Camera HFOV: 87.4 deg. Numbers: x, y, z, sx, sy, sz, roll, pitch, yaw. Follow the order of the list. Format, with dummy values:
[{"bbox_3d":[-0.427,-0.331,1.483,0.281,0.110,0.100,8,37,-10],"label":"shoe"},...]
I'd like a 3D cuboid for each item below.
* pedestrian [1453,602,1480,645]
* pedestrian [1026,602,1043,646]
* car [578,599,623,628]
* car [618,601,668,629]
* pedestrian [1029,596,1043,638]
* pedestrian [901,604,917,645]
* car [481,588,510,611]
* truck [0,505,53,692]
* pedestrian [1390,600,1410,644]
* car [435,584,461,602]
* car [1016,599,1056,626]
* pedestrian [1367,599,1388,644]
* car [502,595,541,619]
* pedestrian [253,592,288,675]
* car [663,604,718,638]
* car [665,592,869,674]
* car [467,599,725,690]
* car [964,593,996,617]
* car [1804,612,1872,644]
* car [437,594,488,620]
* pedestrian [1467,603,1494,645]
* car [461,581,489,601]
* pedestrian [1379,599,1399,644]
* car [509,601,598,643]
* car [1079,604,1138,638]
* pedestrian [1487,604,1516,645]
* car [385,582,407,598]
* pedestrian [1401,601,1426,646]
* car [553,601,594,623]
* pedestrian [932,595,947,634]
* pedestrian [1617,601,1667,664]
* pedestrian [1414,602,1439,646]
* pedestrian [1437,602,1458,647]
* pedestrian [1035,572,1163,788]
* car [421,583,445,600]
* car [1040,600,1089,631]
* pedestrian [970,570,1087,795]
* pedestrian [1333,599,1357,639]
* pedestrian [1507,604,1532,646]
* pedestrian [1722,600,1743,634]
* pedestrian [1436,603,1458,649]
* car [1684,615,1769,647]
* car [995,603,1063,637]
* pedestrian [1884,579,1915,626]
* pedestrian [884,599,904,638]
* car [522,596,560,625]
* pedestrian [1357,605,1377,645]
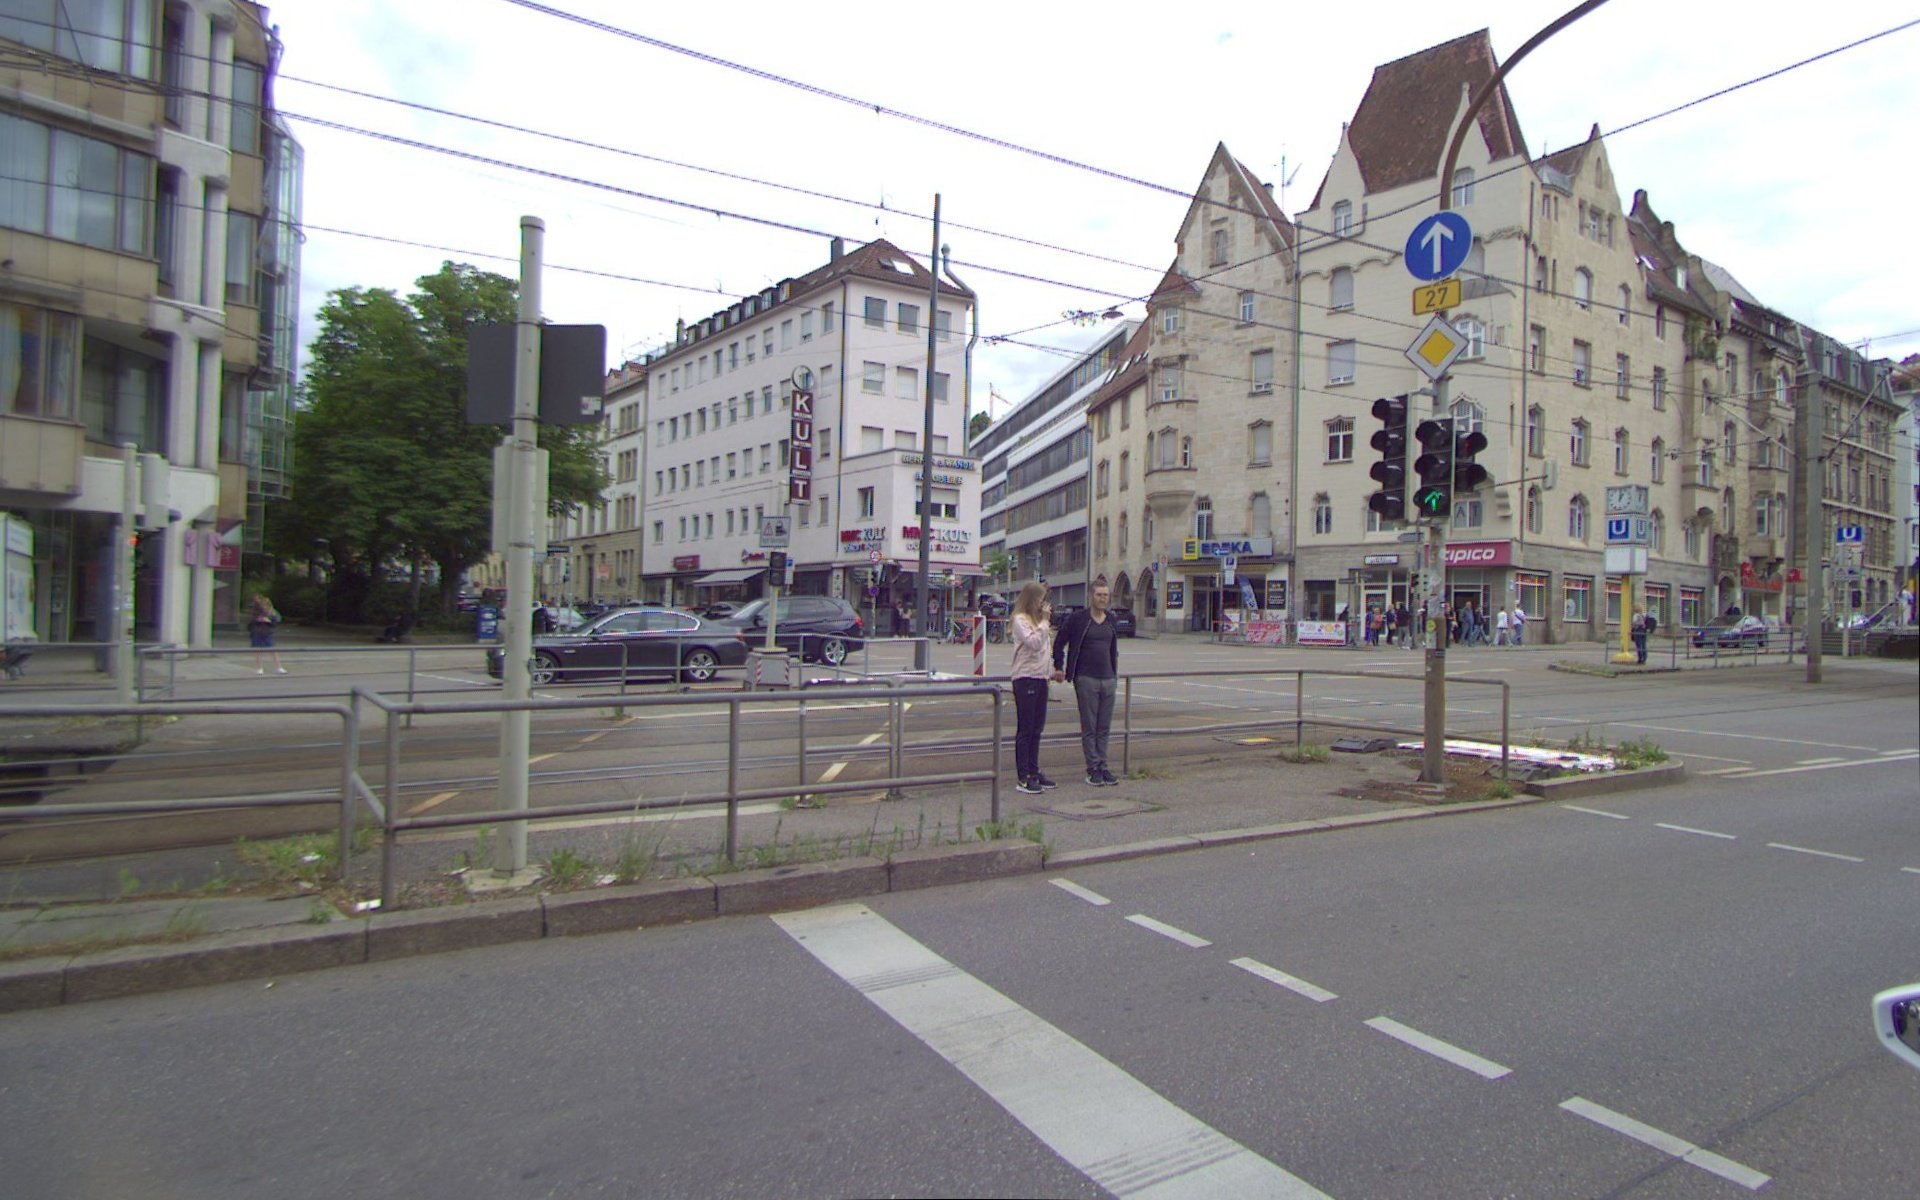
[{"bbox_3d":[20.524,0.955,40.717,0.679,1.699,0.674,1,0,-13],"label":"pedestrian"},{"bbox_3d":[3.091,0.996,41.671,0.568,1.803,0.509,1,0,-19],"label":"pedestrian"},{"bbox_3d":[-22.079,0.820,61.597,1.634,1.734,3.613,1,0,-36],"label":"car"},{"bbox_3d":[-18.118,0.854,57.333,1.634,1.553,3.613,1,0,-36],"label":"car"},{"bbox_3d":[3.279,0.719,43.165,0.502,1.803,0.576,1,0,-5],"label":"pedestrian"},{"bbox_3d":[-2.272,1.106,44.727,0.568,1.803,0.509,1,0,-19],"label":"pedestrian"},{"bbox_3d":[-36.394,-0.030,78.637,1.376,1.763,3.613,1,0,-36],"label":"car"},{"bbox_3d":[-19.328,-0.055,15.712,7.298,3.116,2.253,1,-3,-34],"label":"truck"},{"bbox_3d":[18.267,0.919,41.664,0.570,1.803,0.507,1,0,-29],"label":"pedestrian"},{"bbox_3d":[-49.318,-0.672,96.699,1.634,1.734,3.613,1,0,-36],"label":"car"},{"bbox_3d":[5.296,0.902,70.619,1.610,1.768,3.771,0,-2,-16],"label":"car"},{"bbox_3d":[17.065,0.875,41.076,0.505,1.803,0.573,1,0,-26],"label":"pedestrian"},{"bbox_3d":[-32.606,0.497,74.620,1.637,1.734,3.606,1,0,-41],"label":"car"},{"bbox_3d":[-15.289,0.730,22.278,0.570,1.803,0.507,1,0,-29],"label":"pedestrian"},{"bbox_3d":[-14.408,1.075,53.643,1.634,1.734,3.613,1,0,-36],"label":"car"},{"bbox_3d":[-4.780,0.758,25.170,4.727,1.783,1.665,-2,2,-31],"label":"car"},{"bbox_3d":[-6.955,0.807,19.316,4.480,1.573,1.649,1,0,-29],"label":"car"},{"bbox_3d":[1.557,0.402,80.577,1.609,1.768,3.772,0,-2,-15],"label":"car"},{"bbox_3d":[45.510,1.447,52.055,3.557,1.544,1.552,1,0,-30],"label":"car"},{"bbox_3d":[-35.455,0.483,71.521,1.913,1.734,4.433,1,0,-45],"label":"car"},{"bbox_3d":[21.777,0.998,42.033,0.644,1.728,0.780,1,0,-25],"label":"pedestrian"},{"bbox_3d":[-43.240,-0.774,89.541,1.634,1.734,3.613,1,0,-36],"label":"car"},{"bbox_3d":[17.680,0.882,41.402,0.569,1.803,0.508,1,0,-24],"label":"pedestrian"},{"bbox_3d":[-16.577,0.855,40.923,3.945,1.550,1.939,2,1,44],"label":"car"},{"bbox_3d":[7.697,1.125,52.332,1.610,1.706,3.771,0,-2,-16],"label":"car"},{"bbox_3d":[22.897,1.020,42.473,0.713,1.728,0.780,1,0,-25],"label":"pedestrian"},{"bbox_3d":[-60.690,-1.050,108.089,1.634,1.734,3.613,1,0,-36],"label":"car"},{"bbox_3d":[18.068,0.927,40.022,0.586,1.803,0.709,1,0,-15],"label":"pedestrian"},{"bbox_3d":[-25.688,0.788,66.675,1.634,1.463,3.613,1,0,-36],"label":"car"},{"bbox_3d":[-0.961,0.685,46.999,0.589,1.803,0.509,1,0,-19],"label":"pedestrian"},{"bbox_3d":[19.358,0.911,28.527,0.796,1.728,0.877,1,0,-2],"label":"pedestrian"},{"bbox_3d":[19.356,0.983,41.708,0.654,1.803,0.790,1,0,0],"label":"pedestrian"},{"bbox_3d":[19.962,0.998,41.145,0.565,1.803,0.511,1,0,0],"label":"pedestrian"},{"bbox_3d":[1.192,0.653,8.674,0.764,1.744,0.787,1,0,-31],"label":"pedestrian"},{"bbox_3d":[-54.881,-0.858,104.560,1.634,1.734,3.613,1,0,-36],"label":"car"},{"bbox_3d":[6.153,0.960,59.379,1.610,1.768,3.771,0,-2,-16],"label":"car"},{"bbox_3d":[0.559,0.646,8.286,0.630,1.744,0.760,1,0,-31],"label":"pedestrian"},{"bbox_3d":[17.341,0.843,45.279,0.808,1.803,0.574,1,0,-21],"label":"pedestrian"},{"bbox_3d":[23.290,1.019,41.838,0.700,1.728,0.601,1,0,-25],"label":"pedestrian"},{"bbox_3d":[41.131,0.898,53.464,0.616,1.786,0.847,1,0,17],"label":"pedestrian"},{"bbox_3d":[19.271,1.016,39.766,0.567,1.803,0.510,1,0,-17],"label":"pedestrian"},{"bbox_3d":[34.450,1.384,45.143,3.734,1.393,1.626,1,-1,-27],"label":"car"},{"bbox_3d":[3.513,1.017,52.000,1.729,1.581,4.491,1,0,-21],"label":"car"},{"bbox_3d":[35.018,0.082,37.444,0.654,1.734,0.684,0,0,-32],"label":"pedestrian"},{"bbox_3d":[-2.940,0.809,44.754,0.644,1.728,0.780,1,0,-25],"label":"pedestrian"},{"bbox_3d":[-29.376,0.721,70.387,1.634,1.735,3.612,1,3,-36],"label":"car"},{"bbox_3d":[16.553,0.998,40.865,0.505,1.603,0.572,1,0,-29],"label":"pedestrian"}]
